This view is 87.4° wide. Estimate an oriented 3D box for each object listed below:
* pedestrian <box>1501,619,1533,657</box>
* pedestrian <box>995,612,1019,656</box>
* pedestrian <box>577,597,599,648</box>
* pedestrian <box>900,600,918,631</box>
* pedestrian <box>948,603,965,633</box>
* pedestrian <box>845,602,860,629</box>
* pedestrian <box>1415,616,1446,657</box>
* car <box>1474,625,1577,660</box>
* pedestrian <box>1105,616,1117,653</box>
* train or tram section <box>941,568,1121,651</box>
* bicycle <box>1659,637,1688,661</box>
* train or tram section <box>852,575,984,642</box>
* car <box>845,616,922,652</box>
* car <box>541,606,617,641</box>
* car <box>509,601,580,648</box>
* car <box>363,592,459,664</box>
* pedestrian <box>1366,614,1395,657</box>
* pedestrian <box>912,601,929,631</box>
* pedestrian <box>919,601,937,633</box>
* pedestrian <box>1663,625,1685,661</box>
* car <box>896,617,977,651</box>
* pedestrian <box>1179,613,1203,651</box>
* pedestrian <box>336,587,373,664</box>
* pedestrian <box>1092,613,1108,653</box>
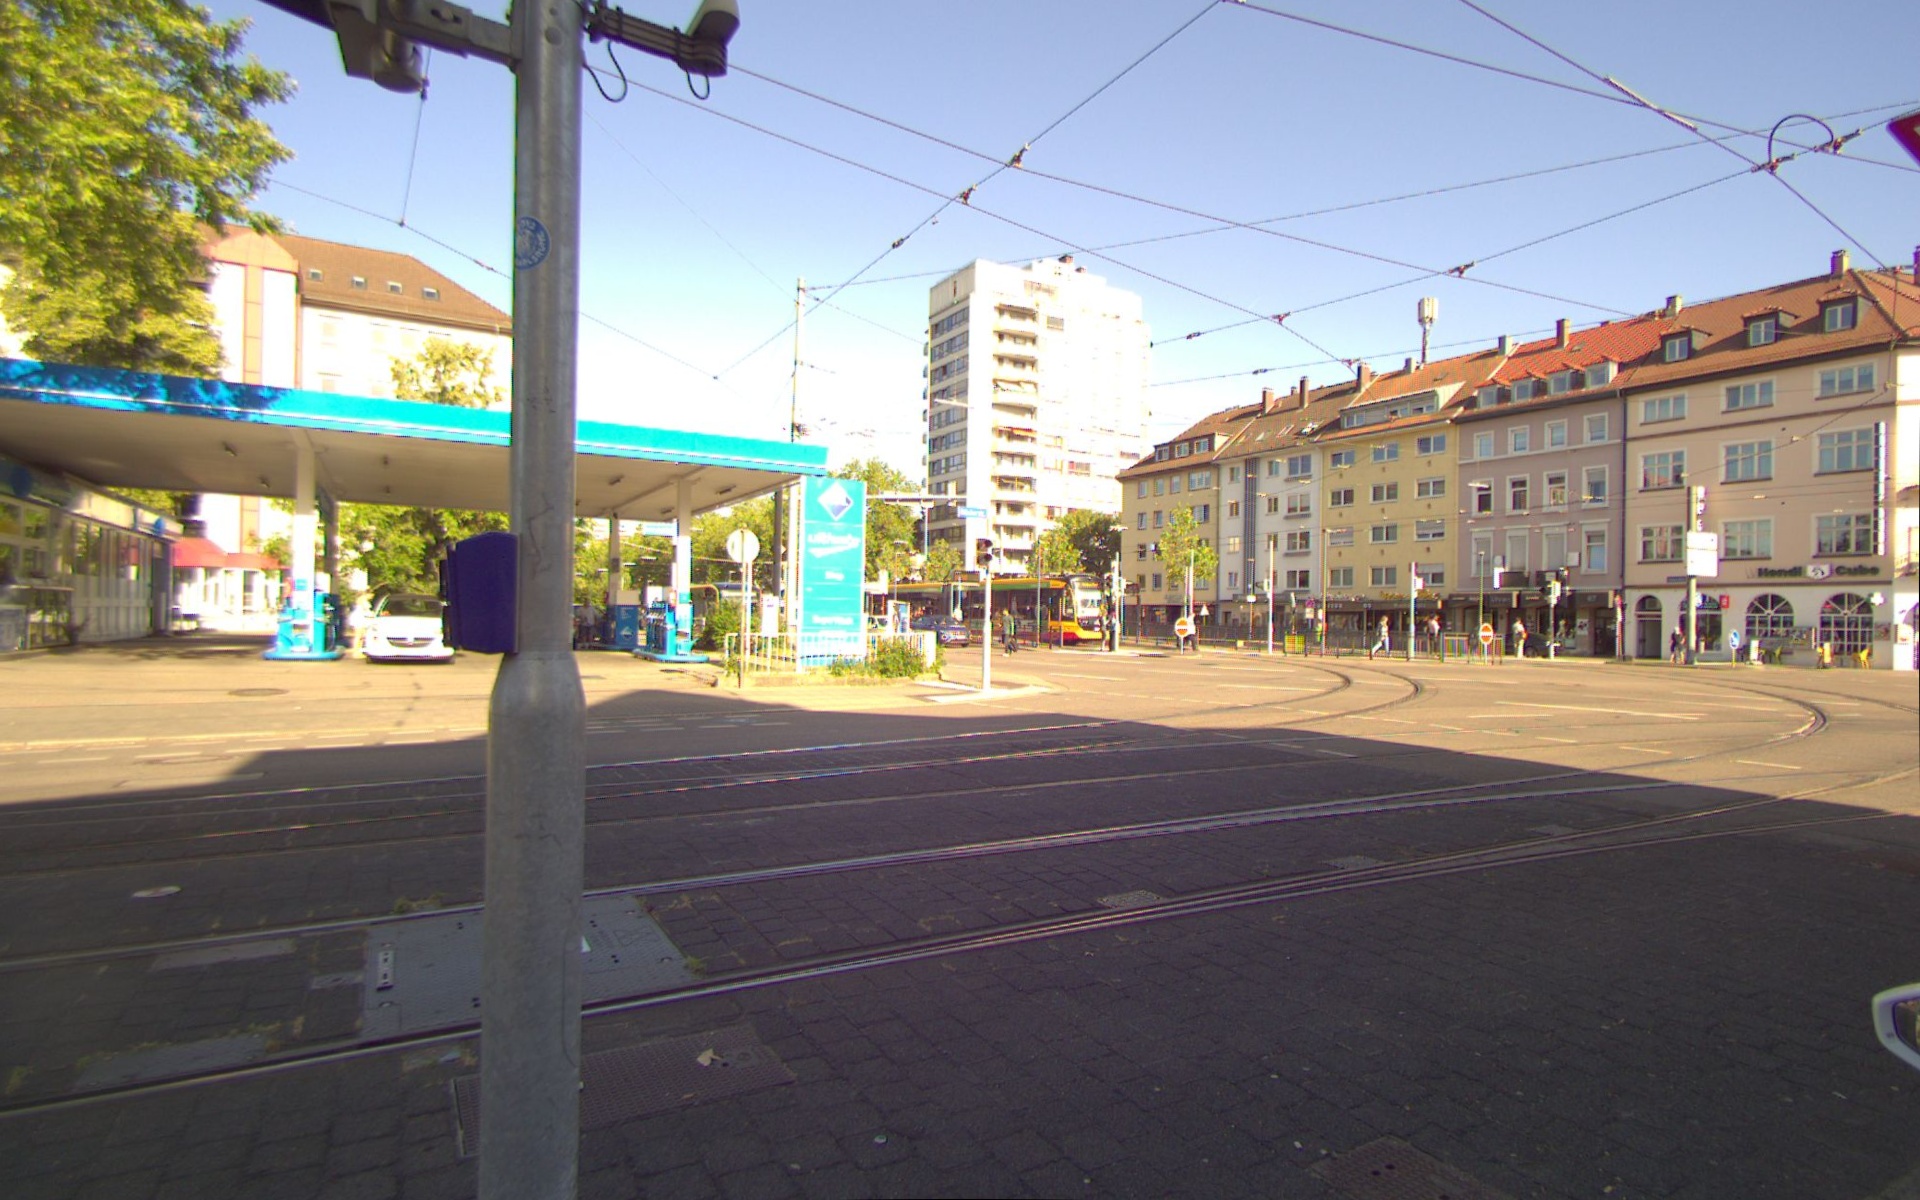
[{"bbox_3d":[24.446,1.670,44.077,0.821,1.598,0.847,2,0,-20],"label":"pedestrian"},{"bbox_3d":[1.811,1.306,38.859,0.752,1.702,0.555,1,-1,-33],"label":"pedestrian"},{"bbox_3d":[-12.750,0.774,34.427,0.493,1.724,0.497,0,-1,43],"label":"pedestrian"},{"bbox_3d":[-2.920,0.903,57.708,0.747,1.756,0.797,0,0,-28],"label":"pedestrian"},{"bbox_3d":[-0.201,0.968,54.156,0.607,1.598,0.827,0,0,-27],"label":"pedestrian"},{"bbox_3d":[-7.079,1.029,65.827,0.747,1.756,0.797,0,0,-28],"label":"pedestrian"},{"bbox_3d":[18.642,1.443,39.830,0.821,1.598,0.724,2,0,-20],"label":"pedestrian"},{"bbox_3d":[30.821,2.293,54.852,2.277,1.734,4.350,2,0,-27],"label":"car"},{"bbox_3d":[6.148,1.404,40.975,0.472,1.525,0.462,0,0,6],"label":"pedestrian"},{"bbox_3d":[3.298,0.515,53.122,2.906,3.864,12.953,1,-1,-29],"label":"train or tram section"},{"bbox_3d":[34.072,2.354,47.979,1.479,1.091,0.570,2,0,-30],"label":"bicycle"},{"bbox_3d":[-2.982,0.586,64.297,2.907,3.864,12.719,1,-1,-30],"label":"train or tram section"},{"bbox_3d":[-3.592,1.551,46.747,1.871,1.550,3.963,1,-1,-33],"label":"car"},{"bbox_3d":[-16.865,1.038,44.612,1.722,1.461,3.572,1,-1,5],"label":"car"},{"bbox_3d":[-13.553,0.780,32.687,1.737,1.461,3.543,1,-1,-29],"label":"car"},{"bbox_3d":[-12.203,0.601,22.360,1.737,1.461,3.543,1,-1,-29],"label":"car"},{"bbox_3d":[16.162,1.357,38.590,0.817,1.598,0.552,2,0,-2],"label":"pedestrian"},{"bbox_3d":[-2.285,0.923,57.933,0.747,1.756,0.797,0,0,-28],"label":"pedestrian"},{"bbox_3d":[-1.774,0.929,55.980,0.747,1.756,0.797,0,0,-28],"label":"pedestrian"},{"bbox_3d":[34.109,2.058,47.994,0.743,1.692,0.579,2,0,-30],"label":"pedestrian"},{"bbox_3d":[-1.165,1.615,48.376,1.875,1.550,3.955,1,-2,-39],"label":"car"},{"bbox_3d":[10.042,1.380,43.682,0.867,1.598,0.665,2,0,-2],"label":"pedestrian"},{"bbox_3d":[-13.898,0.588,23.064,0.640,1.724,0.497,1,-1,-26],"label":"pedestrian"},{"bbox_3d":[5.851,1.391,41.974,0.626,1.666,0.462,0,0,6],"label":"pedestrian"}]
